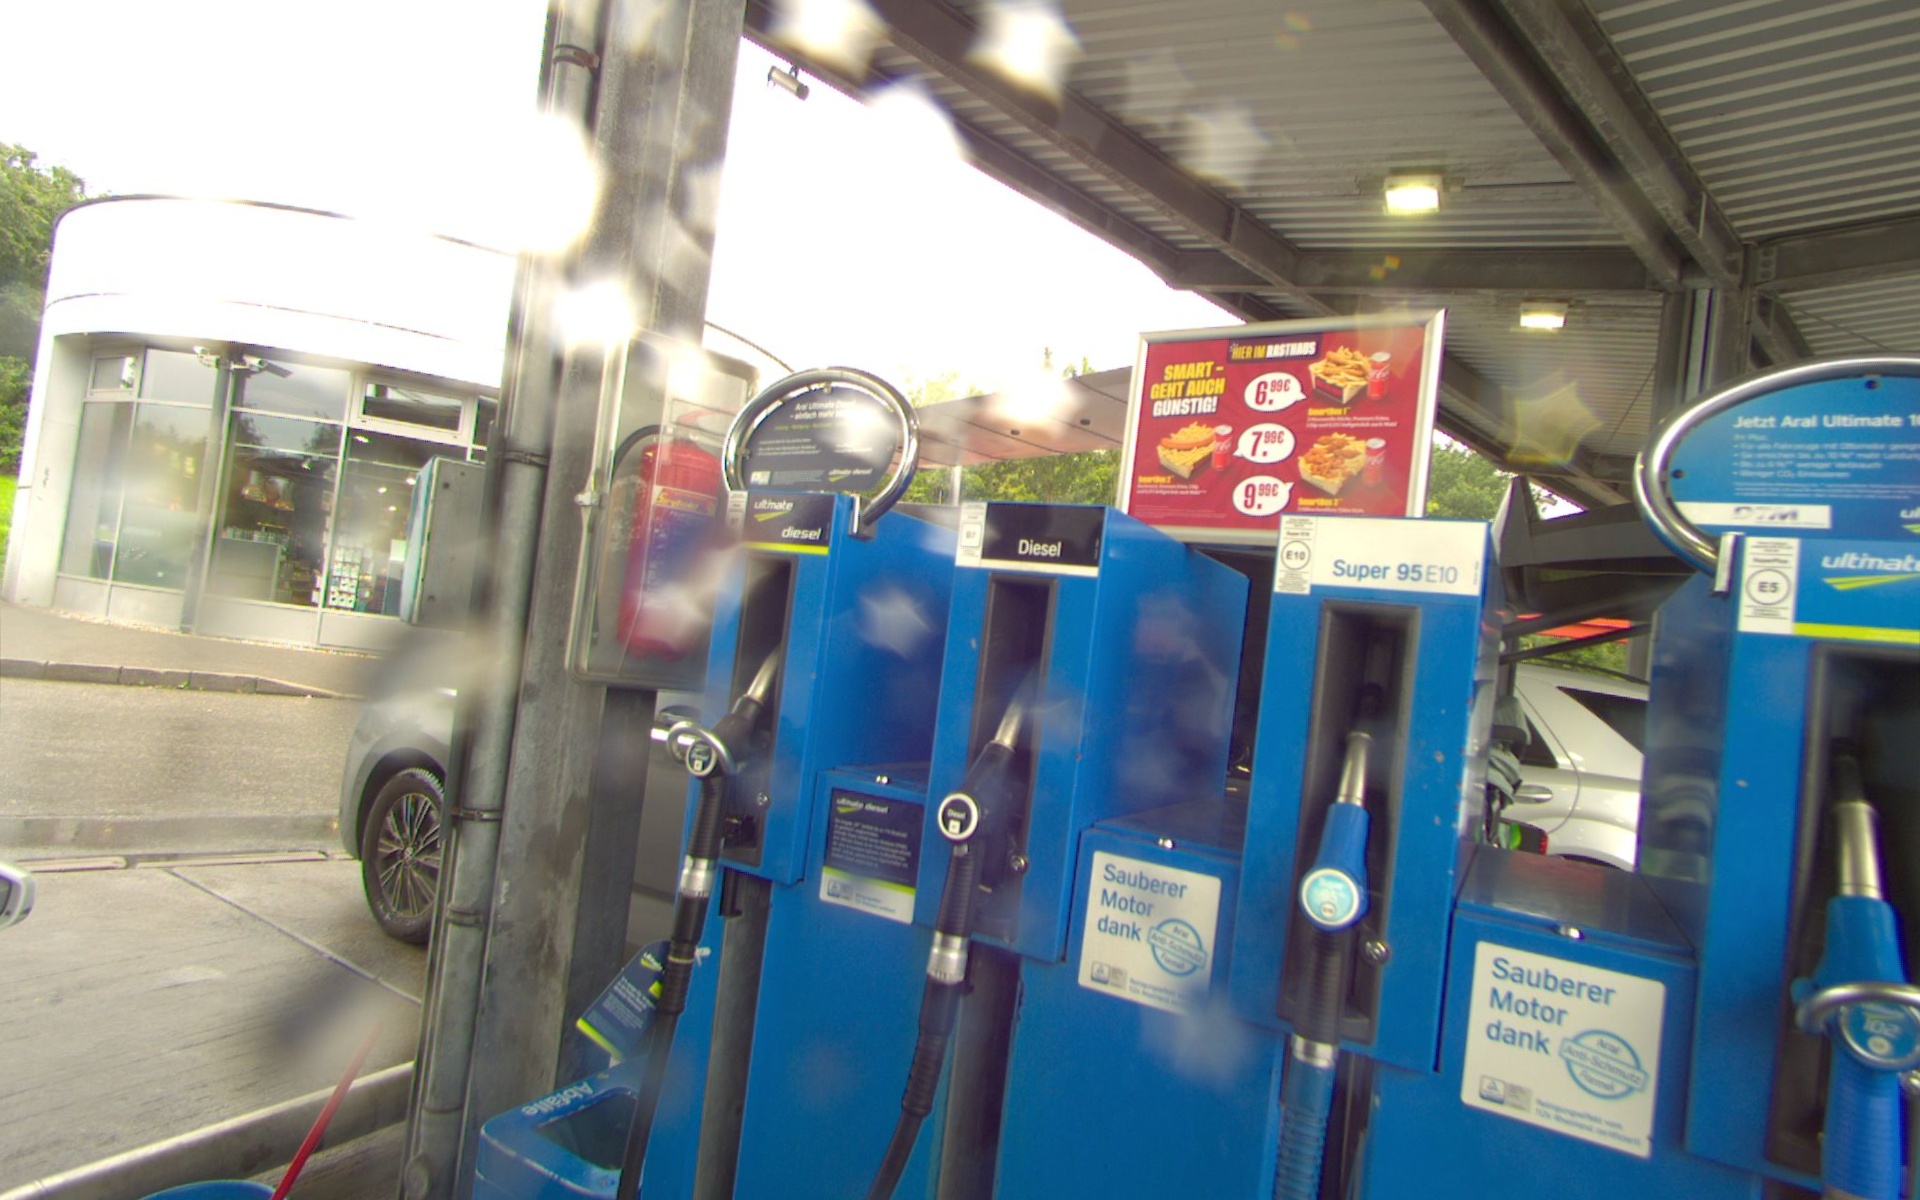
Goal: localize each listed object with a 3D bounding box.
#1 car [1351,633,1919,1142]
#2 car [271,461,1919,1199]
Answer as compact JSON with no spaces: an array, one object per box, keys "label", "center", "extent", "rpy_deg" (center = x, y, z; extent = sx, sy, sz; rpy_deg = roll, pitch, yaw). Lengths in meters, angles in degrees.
[{"label":"car","center":[4.484,1.370,4.814],"extent":[4.464,1.819,1.865],"rpy_deg":[6,-2,32]},{"label":"car","center":[-0.153,0.644,3.671],"extent":[5.055,1.819,1.865],"rpy_deg":[6,-2,32]}]
